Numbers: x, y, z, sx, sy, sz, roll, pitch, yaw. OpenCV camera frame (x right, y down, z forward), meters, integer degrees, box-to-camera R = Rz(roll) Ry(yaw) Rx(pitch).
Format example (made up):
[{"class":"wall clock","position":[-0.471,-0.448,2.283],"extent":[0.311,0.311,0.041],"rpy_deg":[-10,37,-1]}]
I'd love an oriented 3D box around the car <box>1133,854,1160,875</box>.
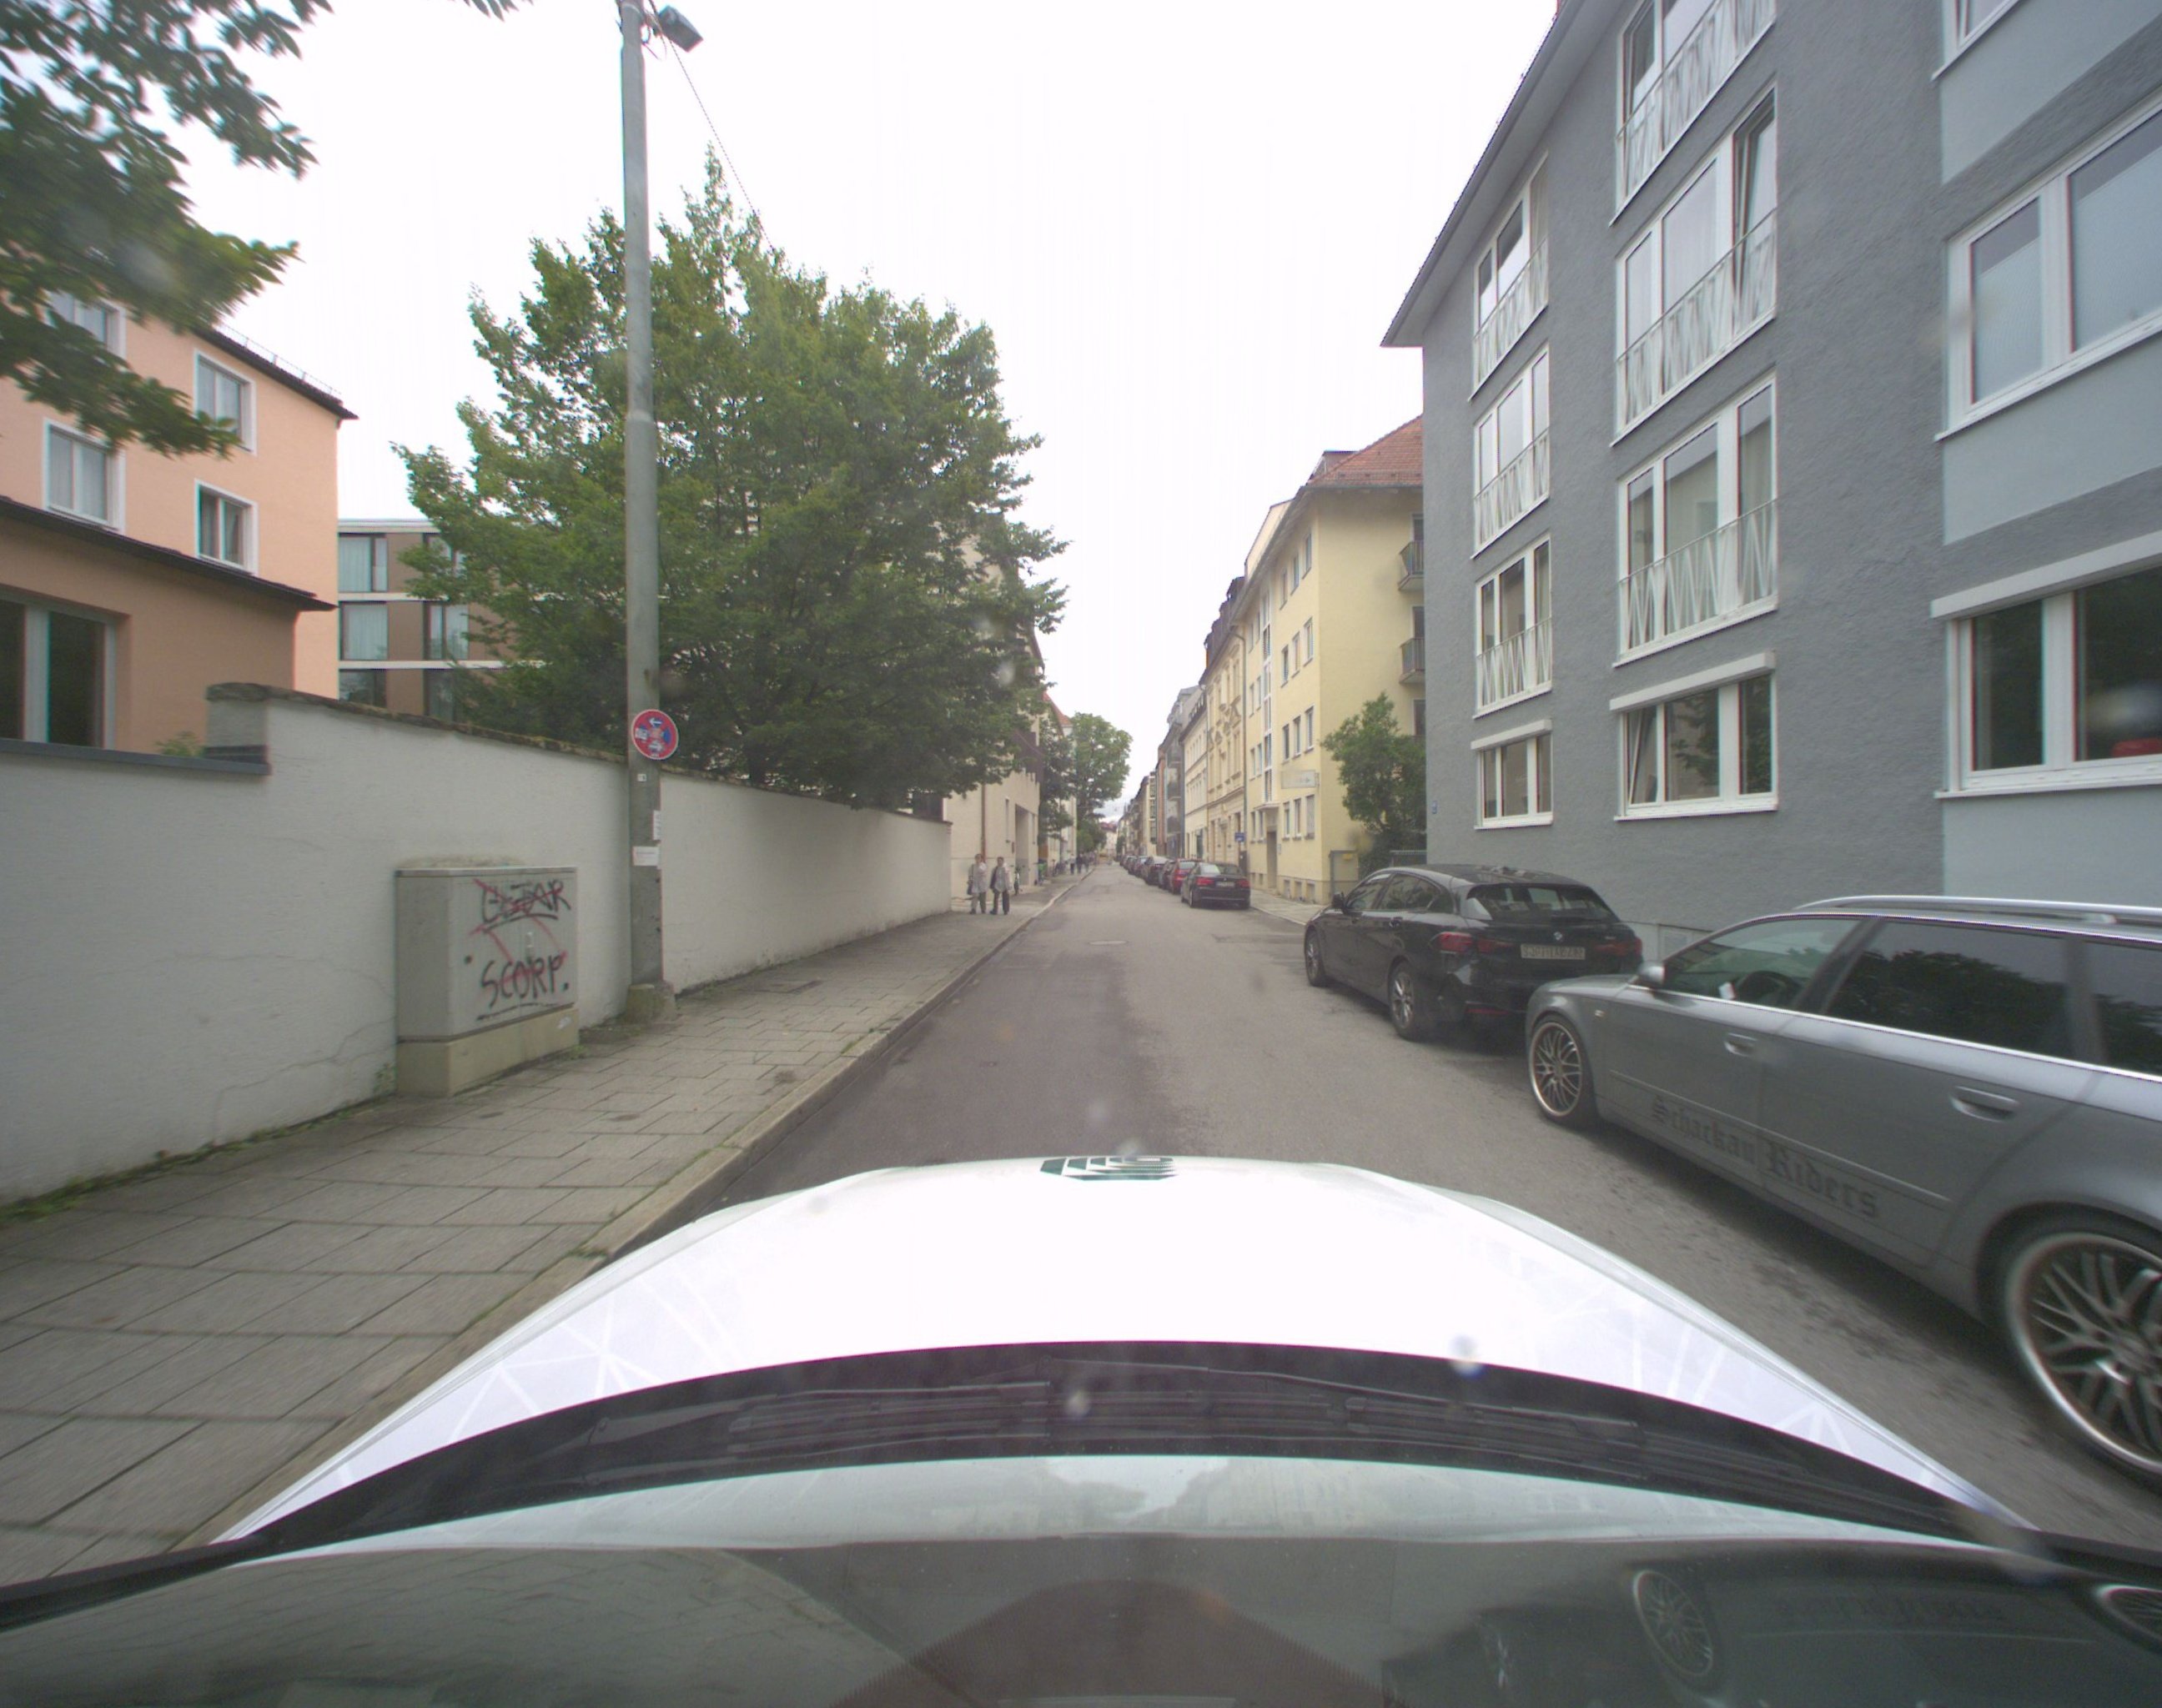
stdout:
[{"class":"car","position":[5.344,0.833,66.811],"extent":[1.869,1.570,4.315],"rpy_deg":[-2,0,0]}]

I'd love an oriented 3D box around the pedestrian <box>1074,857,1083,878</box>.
[{"class":"pedestrian","position":[-0.206,1.128,67.630],"extent":[0.715,1.765,0.838],"rpy_deg":[1,-1,2]}]

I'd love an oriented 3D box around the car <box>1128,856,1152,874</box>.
[{"class":"car","position":[5.187,0.919,71.702],"extent":[1.833,1.528,4.293],"rpy_deg":[0,0,1]}]

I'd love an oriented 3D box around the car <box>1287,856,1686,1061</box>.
[{"class":"car","position":[3.562,0.783,8.186],"extent":[1.835,1.428,4.263],"rpy_deg":[3,0,0]}]

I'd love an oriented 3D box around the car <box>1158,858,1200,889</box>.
[{"class":"car","position":[4.723,0.915,39.805],"extent":[1.670,1.393,4.067],"rpy_deg":[0,0,2]}]

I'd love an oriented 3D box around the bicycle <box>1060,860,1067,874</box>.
[{"class":"bicycle","position":[-1.482,1.070,68.259],"extent":[0.456,1.159,1.606],"rpy_deg":[2,-1,3]}]

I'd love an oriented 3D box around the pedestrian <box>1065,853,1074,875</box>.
[{"class":"pedestrian","position":[-0.952,0.814,67.553],"extent":[0.715,1.796,0.917],"rpy_deg":[1,-1,2]}]

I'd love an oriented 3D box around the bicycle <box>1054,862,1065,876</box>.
[{"class":"bicycle","position":[-1.602,1.074,60.113],"extent":[0.702,0.984,1.821],"rpy_deg":[3,-1,-2]}]

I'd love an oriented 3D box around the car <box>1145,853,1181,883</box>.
[{"class":"car","position":[4.634,0.777,46.481],"extent":[1.695,1.607,4.686],"rpy_deg":[0,0,2]}]

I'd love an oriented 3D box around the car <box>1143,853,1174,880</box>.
[{"class":"car","position":[4.917,0.773,52.212],"extent":[1.670,1.661,4.514],"rpy_deg":[0,0,2]}]

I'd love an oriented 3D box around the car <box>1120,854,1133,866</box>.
[{"class":"car","position":[7.469,1.003,133.041],"extent":[1.795,1.820,3.999],"rpy_deg":[3,0,0]}]

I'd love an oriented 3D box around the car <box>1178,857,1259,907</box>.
[{"class":"car","position":[4.196,0.808,25.525],"extent":[1.819,1.335,4.510],"rpy_deg":[3,0,1]}]

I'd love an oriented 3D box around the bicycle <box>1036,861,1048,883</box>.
[{"class":"bicycle","position":[-2.158,0.974,45.050],"extent":[0.542,1.161,1.882],"rpy_deg":[1,0,0]}]

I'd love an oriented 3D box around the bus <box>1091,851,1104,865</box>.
[{"class":"bus","position":[3.622,0.901,179.037],"extent":[2.583,3.102,6.309],"rpy_deg":[-2,-1,2]}]

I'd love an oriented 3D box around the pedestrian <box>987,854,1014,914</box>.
[{"class":"pedestrian","position":[-2.133,0.792,21.723],"extent":[0.620,1.579,0.714],"rpy_deg":[0,-1,1]}]

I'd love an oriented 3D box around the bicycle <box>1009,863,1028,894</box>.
[{"class":"bicycle","position":[-2.388,0.930,31.405],"extent":[0.536,1.139,1.917],"rpy_deg":[1,0,1]}]

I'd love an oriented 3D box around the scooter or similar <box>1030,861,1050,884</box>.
[{"class":"scooter or similar","position":[-2.178,0.965,42.984],"extent":[0.547,1.144,1.364],"rpy_deg":[2,0,18]}]

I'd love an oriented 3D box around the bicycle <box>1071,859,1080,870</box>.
[{"class":"bicycle","position":[-0.635,1.156,92.936],"extent":[0.643,1.217,1.655],"rpy_deg":[-1,-1,-17]}]

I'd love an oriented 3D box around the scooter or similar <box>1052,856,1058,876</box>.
[{"class":"scooter or similar","position":[-1.891,0.875,58.388],"extent":[0.316,1.376,1.239],"rpy_deg":[-2,-1,2]}]

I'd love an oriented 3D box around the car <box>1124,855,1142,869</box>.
[{"class":"car","position":[6.154,0.960,96.492],"extent":[1.880,1.555,4.390],"rpy_deg":[0,0,0]}]

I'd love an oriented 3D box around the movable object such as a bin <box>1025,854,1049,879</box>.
[{"class":"movable object such as a bin","position":[-2.723,0.769,50.484],"extent":[1.168,1.442,1.251],"rpy_deg":[4,1,7]}]

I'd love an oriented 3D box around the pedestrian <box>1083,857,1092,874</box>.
[{"class":"pedestrian","position":[0.654,1.162,80.979],"extent":[0.750,1.659,0.907],"rpy_deg":[1,-1,2]}]

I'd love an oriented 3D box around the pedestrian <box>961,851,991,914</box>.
[{"class":"pedestrian","position":[-2.793,0.747,21.725],"extent":[0.611,1.621,0.688],"rpy_deg":[2,-1,2]}]

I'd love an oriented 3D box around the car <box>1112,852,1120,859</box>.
[{"class":"car","position":[9.067,0.432,210.940],"extent":[1.795,1.712,3.826],"rpy_deg":[3,0,0]}]

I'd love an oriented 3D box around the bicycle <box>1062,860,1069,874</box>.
[{"class":"bicycle","position":[-1.347,1.087,69.972],"extent":[0.560,1.159,1.718],"rpy_deg":[0,-1,-4]}]

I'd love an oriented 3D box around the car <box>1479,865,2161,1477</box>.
[{"class":"car","position":[3.545,0.818,3.321],"extent":[1.782,1.401,4.488],"rpy_deg":[3,0,3]}]

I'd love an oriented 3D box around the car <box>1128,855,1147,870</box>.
[{"class":"car","position":[5.742,0.872,83.644],"extent":[1.769,1.555,4.001],"rpy_deg":[0,0,1]}]

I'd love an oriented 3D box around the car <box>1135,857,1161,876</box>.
[{"class":"car","position":[5.057,0.942,61.893],"extent":[1.801,1.363,3.947],"rpy_deg":[-1,0,2]}]

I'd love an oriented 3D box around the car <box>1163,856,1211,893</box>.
[{"class":"car","position":[4.540,0.852,35.361],"extent":[1.670,1.492,3.855],"rpy_deg":[0,0,2]}]
